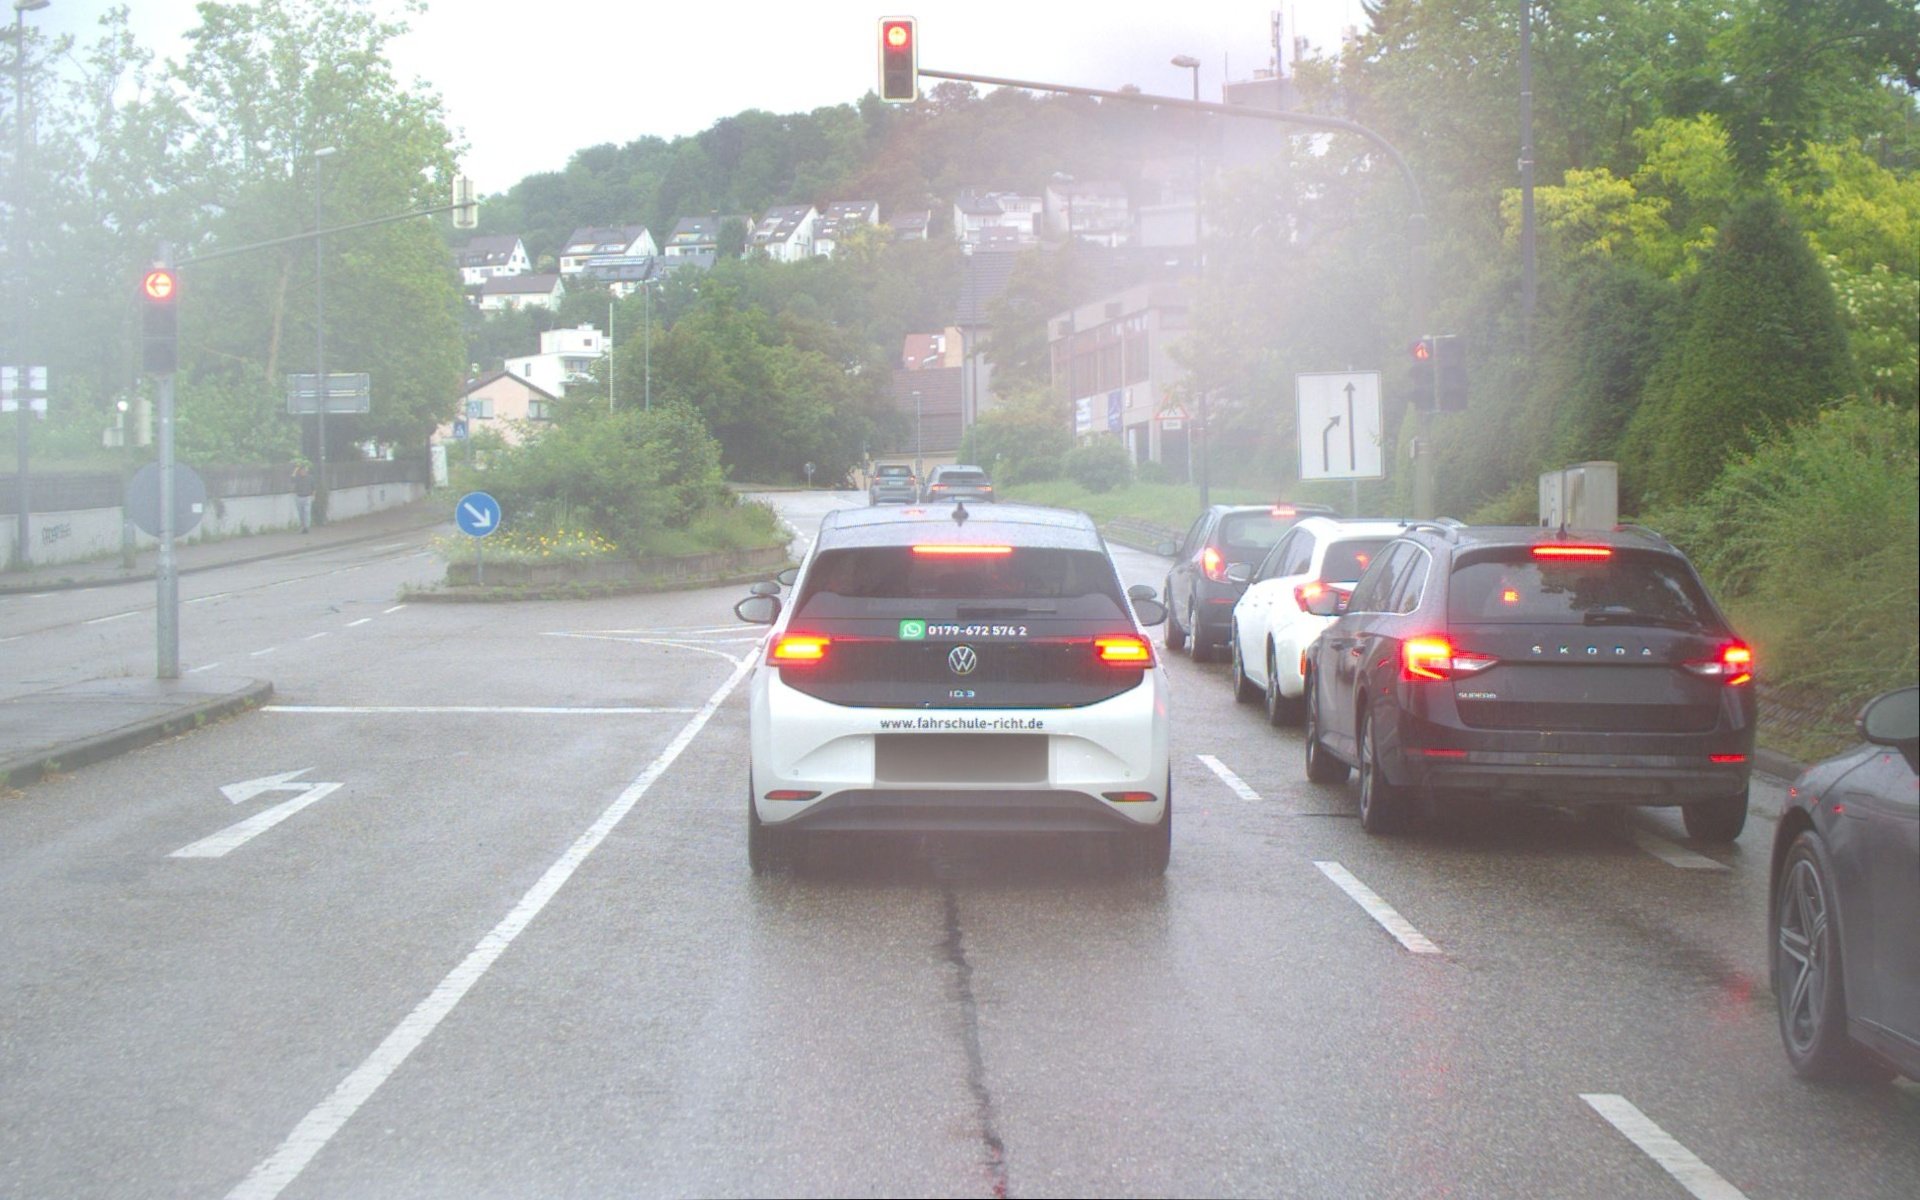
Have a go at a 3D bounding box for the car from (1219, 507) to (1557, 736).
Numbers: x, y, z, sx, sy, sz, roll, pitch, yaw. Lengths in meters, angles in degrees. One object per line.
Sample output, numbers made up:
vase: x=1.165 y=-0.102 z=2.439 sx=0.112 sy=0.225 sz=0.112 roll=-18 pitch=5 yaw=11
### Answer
car: x=3.005 y=0.090 z=24.940 sx=1.837 sy=1.461 sz=4.117 roll=1 pitch=2 yaw=-1

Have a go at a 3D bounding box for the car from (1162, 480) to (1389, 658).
car: x=2.988 y=-0.320 z=33.279 sx=1.775 sy=1.576 sz=4.000 roll=1 pitch=1 yaw=0

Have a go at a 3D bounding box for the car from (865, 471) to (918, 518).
car: x=-2.421 y=-3.737 z=122.197 sx=1.775 sy=1.575 sz=4.000 roll=-2 pitch=1 yaw=0

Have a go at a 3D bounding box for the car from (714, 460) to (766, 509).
car: x=-9.585 y=-5.029 z=150.298 sx=1.993 sy=2.007 sz=4.000 roll=1 pitch=0 yaw=0

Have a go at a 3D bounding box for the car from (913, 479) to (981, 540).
car: x=-0.351 y=-2.454 z=93.702 sx=1.775 sy=1.575 sz=4.000 roll=-2 pitch=1 yaw=0

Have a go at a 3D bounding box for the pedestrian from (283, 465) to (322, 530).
pedestrian: x=-16.310 y=-2.545 z=85.284 sx=0.760 sy=1.562 sz=0.825 roll=-2 pitch=1 yaw=-1

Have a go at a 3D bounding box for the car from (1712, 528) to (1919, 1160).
car: x=3.192 y=0.616 z=7.720 sx=1.837 sy=1.461 sz=4.809 roll=1 pitch=2 yaw=-1

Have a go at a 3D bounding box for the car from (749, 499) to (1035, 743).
car: x=-0.477 y=0.078 z=24.643 sx=1.837 sy=1.549 sz=4.175 roll=1 pitch=2 yaw=-1

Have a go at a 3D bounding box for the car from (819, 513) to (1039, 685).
car: x=-0.294 y=-0.058 z=31.237 sx=1.837 sy=1.395 sz=3.831 roll=1 pitch=2 yaw=-1

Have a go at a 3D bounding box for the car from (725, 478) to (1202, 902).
car: x=-0.023 y=0.285 z=15.818 sx=1.837 sy=1.623 sz=4.616 roll=1 pitch=2 yaw=-1

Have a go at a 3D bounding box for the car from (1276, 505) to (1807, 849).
car: x=2.768 y=0.281 z=17.361 sx=1.837 sy=1.461 sz=4.350 roll=1 pitch=2 yaw=-1
